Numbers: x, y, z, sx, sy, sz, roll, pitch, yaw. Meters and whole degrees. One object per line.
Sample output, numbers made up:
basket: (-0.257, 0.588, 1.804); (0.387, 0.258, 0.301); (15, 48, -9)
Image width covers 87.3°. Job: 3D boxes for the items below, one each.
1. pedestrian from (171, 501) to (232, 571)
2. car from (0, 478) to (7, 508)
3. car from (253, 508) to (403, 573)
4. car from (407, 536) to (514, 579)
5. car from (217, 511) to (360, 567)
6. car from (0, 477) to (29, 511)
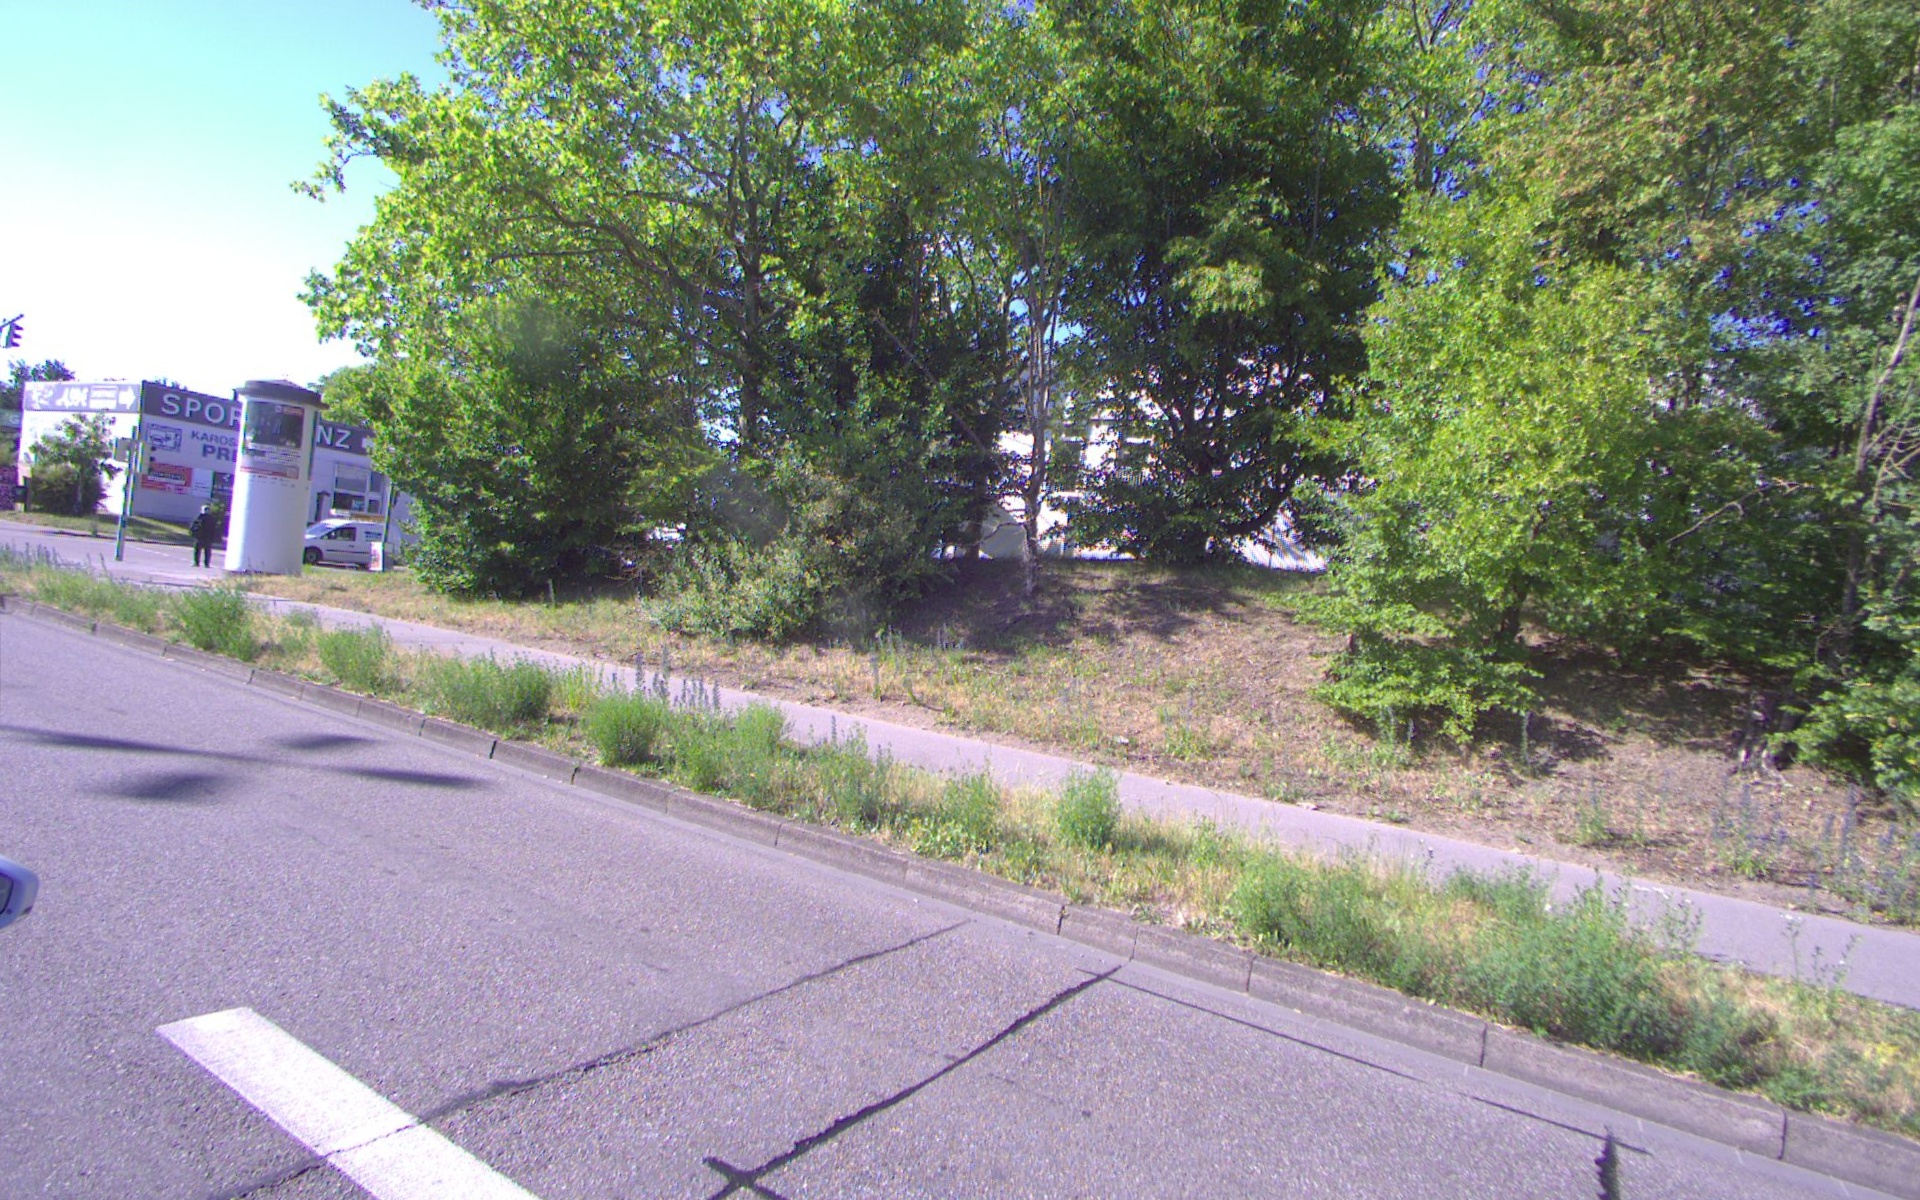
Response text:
pedestrian: (-21.065, -1.775, 27.946); (0.923, 1.755, 0.927); (6, -1, 31)
car: (-49.243, -5.492, 48.467); (1.828, 1.472, 4.490); (7, 1, 33)
car: (-23.888, -2.204, 38.201); (1.735, 1.824, 4.387); (9, 1, 30)
car: (-22.990, -1.941, 46.418); (1.752, 1.509, 4.046); (7, 1, 30)
car: (-26.623, -2.380, 40.020); (1.735, 1.568, 4.292); (9, 1, 30)
car: (-46.891, -5.226, 47.098); (1.828, 1.472, 4.490); (7, 1, 33)
